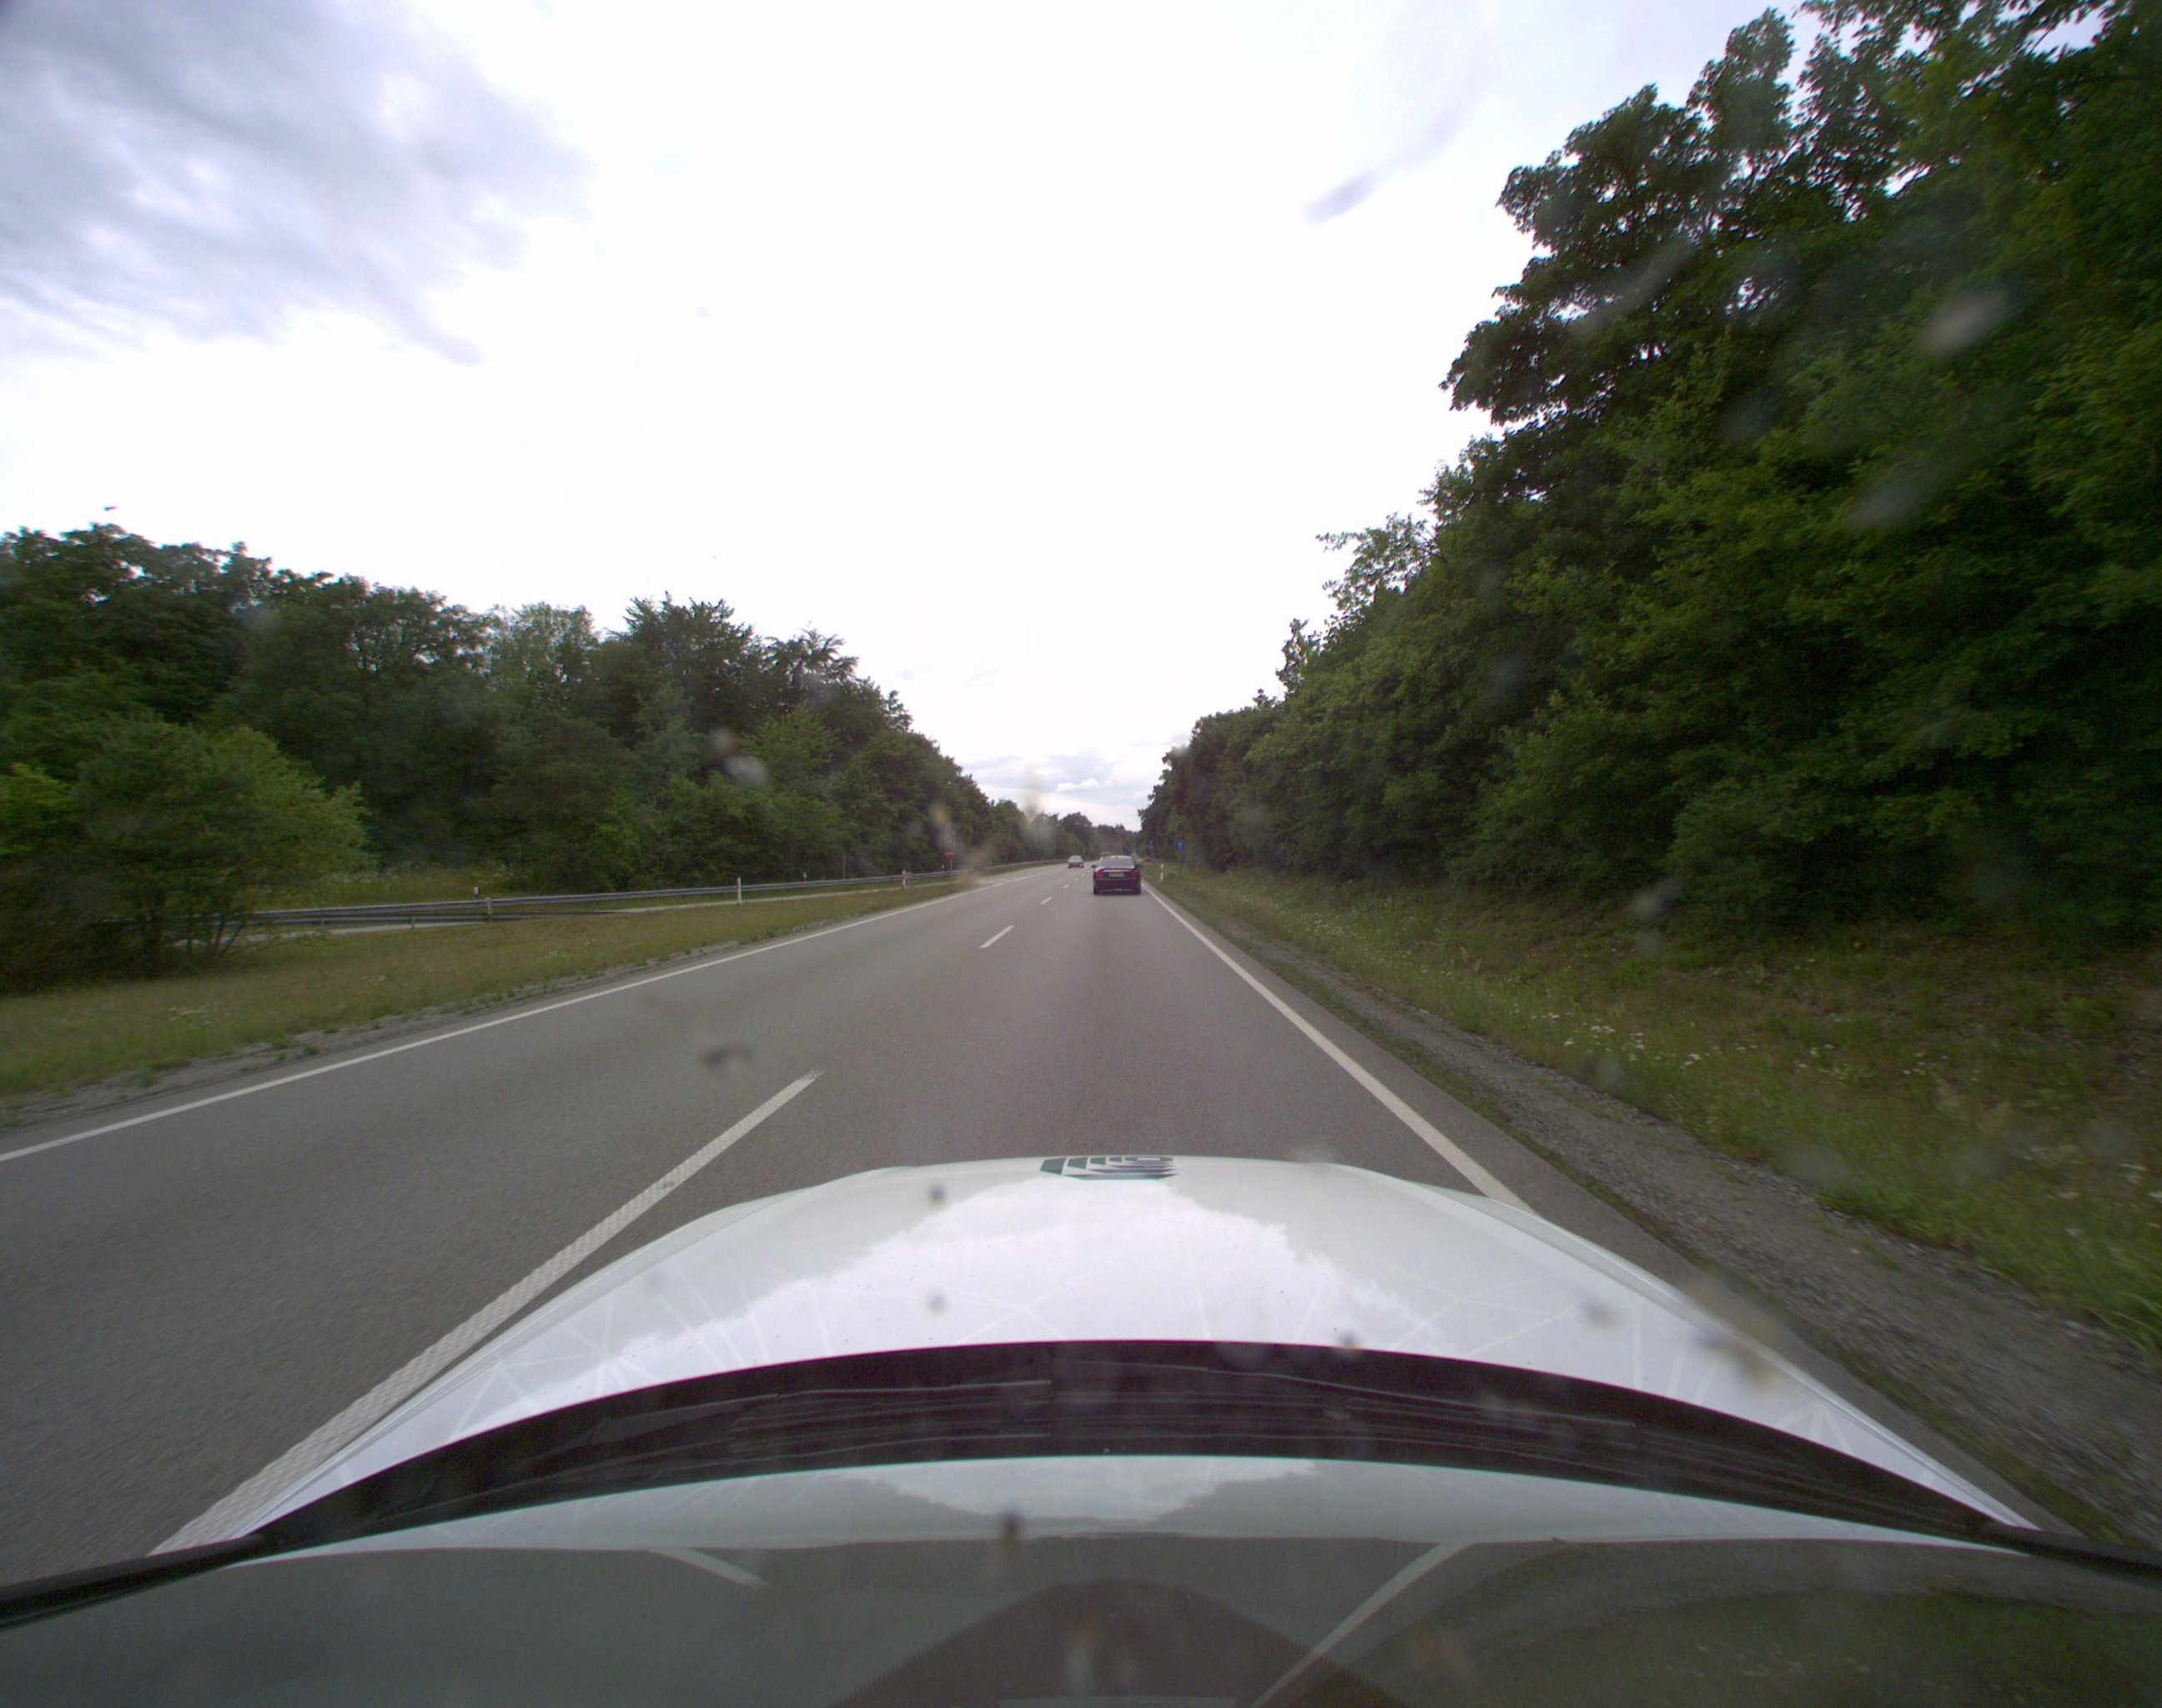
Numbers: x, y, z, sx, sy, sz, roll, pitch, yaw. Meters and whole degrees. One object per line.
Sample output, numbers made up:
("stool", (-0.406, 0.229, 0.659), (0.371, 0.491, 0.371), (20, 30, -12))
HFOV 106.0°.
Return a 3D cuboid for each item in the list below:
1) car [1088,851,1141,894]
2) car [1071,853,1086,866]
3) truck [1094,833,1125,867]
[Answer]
("car", (1.267, 0.695, 32.032), (1.786, 1.552, 3.997), (-1, 0, -2))
("car", (-0.252, 0.676, 99.647), (1.802, 1.442, 4.447), (-1, 0, 0))
("truck", (3.213, -0.402, 91.599), (3.268, 3.611, 11.406), (-1, 0, 2))
